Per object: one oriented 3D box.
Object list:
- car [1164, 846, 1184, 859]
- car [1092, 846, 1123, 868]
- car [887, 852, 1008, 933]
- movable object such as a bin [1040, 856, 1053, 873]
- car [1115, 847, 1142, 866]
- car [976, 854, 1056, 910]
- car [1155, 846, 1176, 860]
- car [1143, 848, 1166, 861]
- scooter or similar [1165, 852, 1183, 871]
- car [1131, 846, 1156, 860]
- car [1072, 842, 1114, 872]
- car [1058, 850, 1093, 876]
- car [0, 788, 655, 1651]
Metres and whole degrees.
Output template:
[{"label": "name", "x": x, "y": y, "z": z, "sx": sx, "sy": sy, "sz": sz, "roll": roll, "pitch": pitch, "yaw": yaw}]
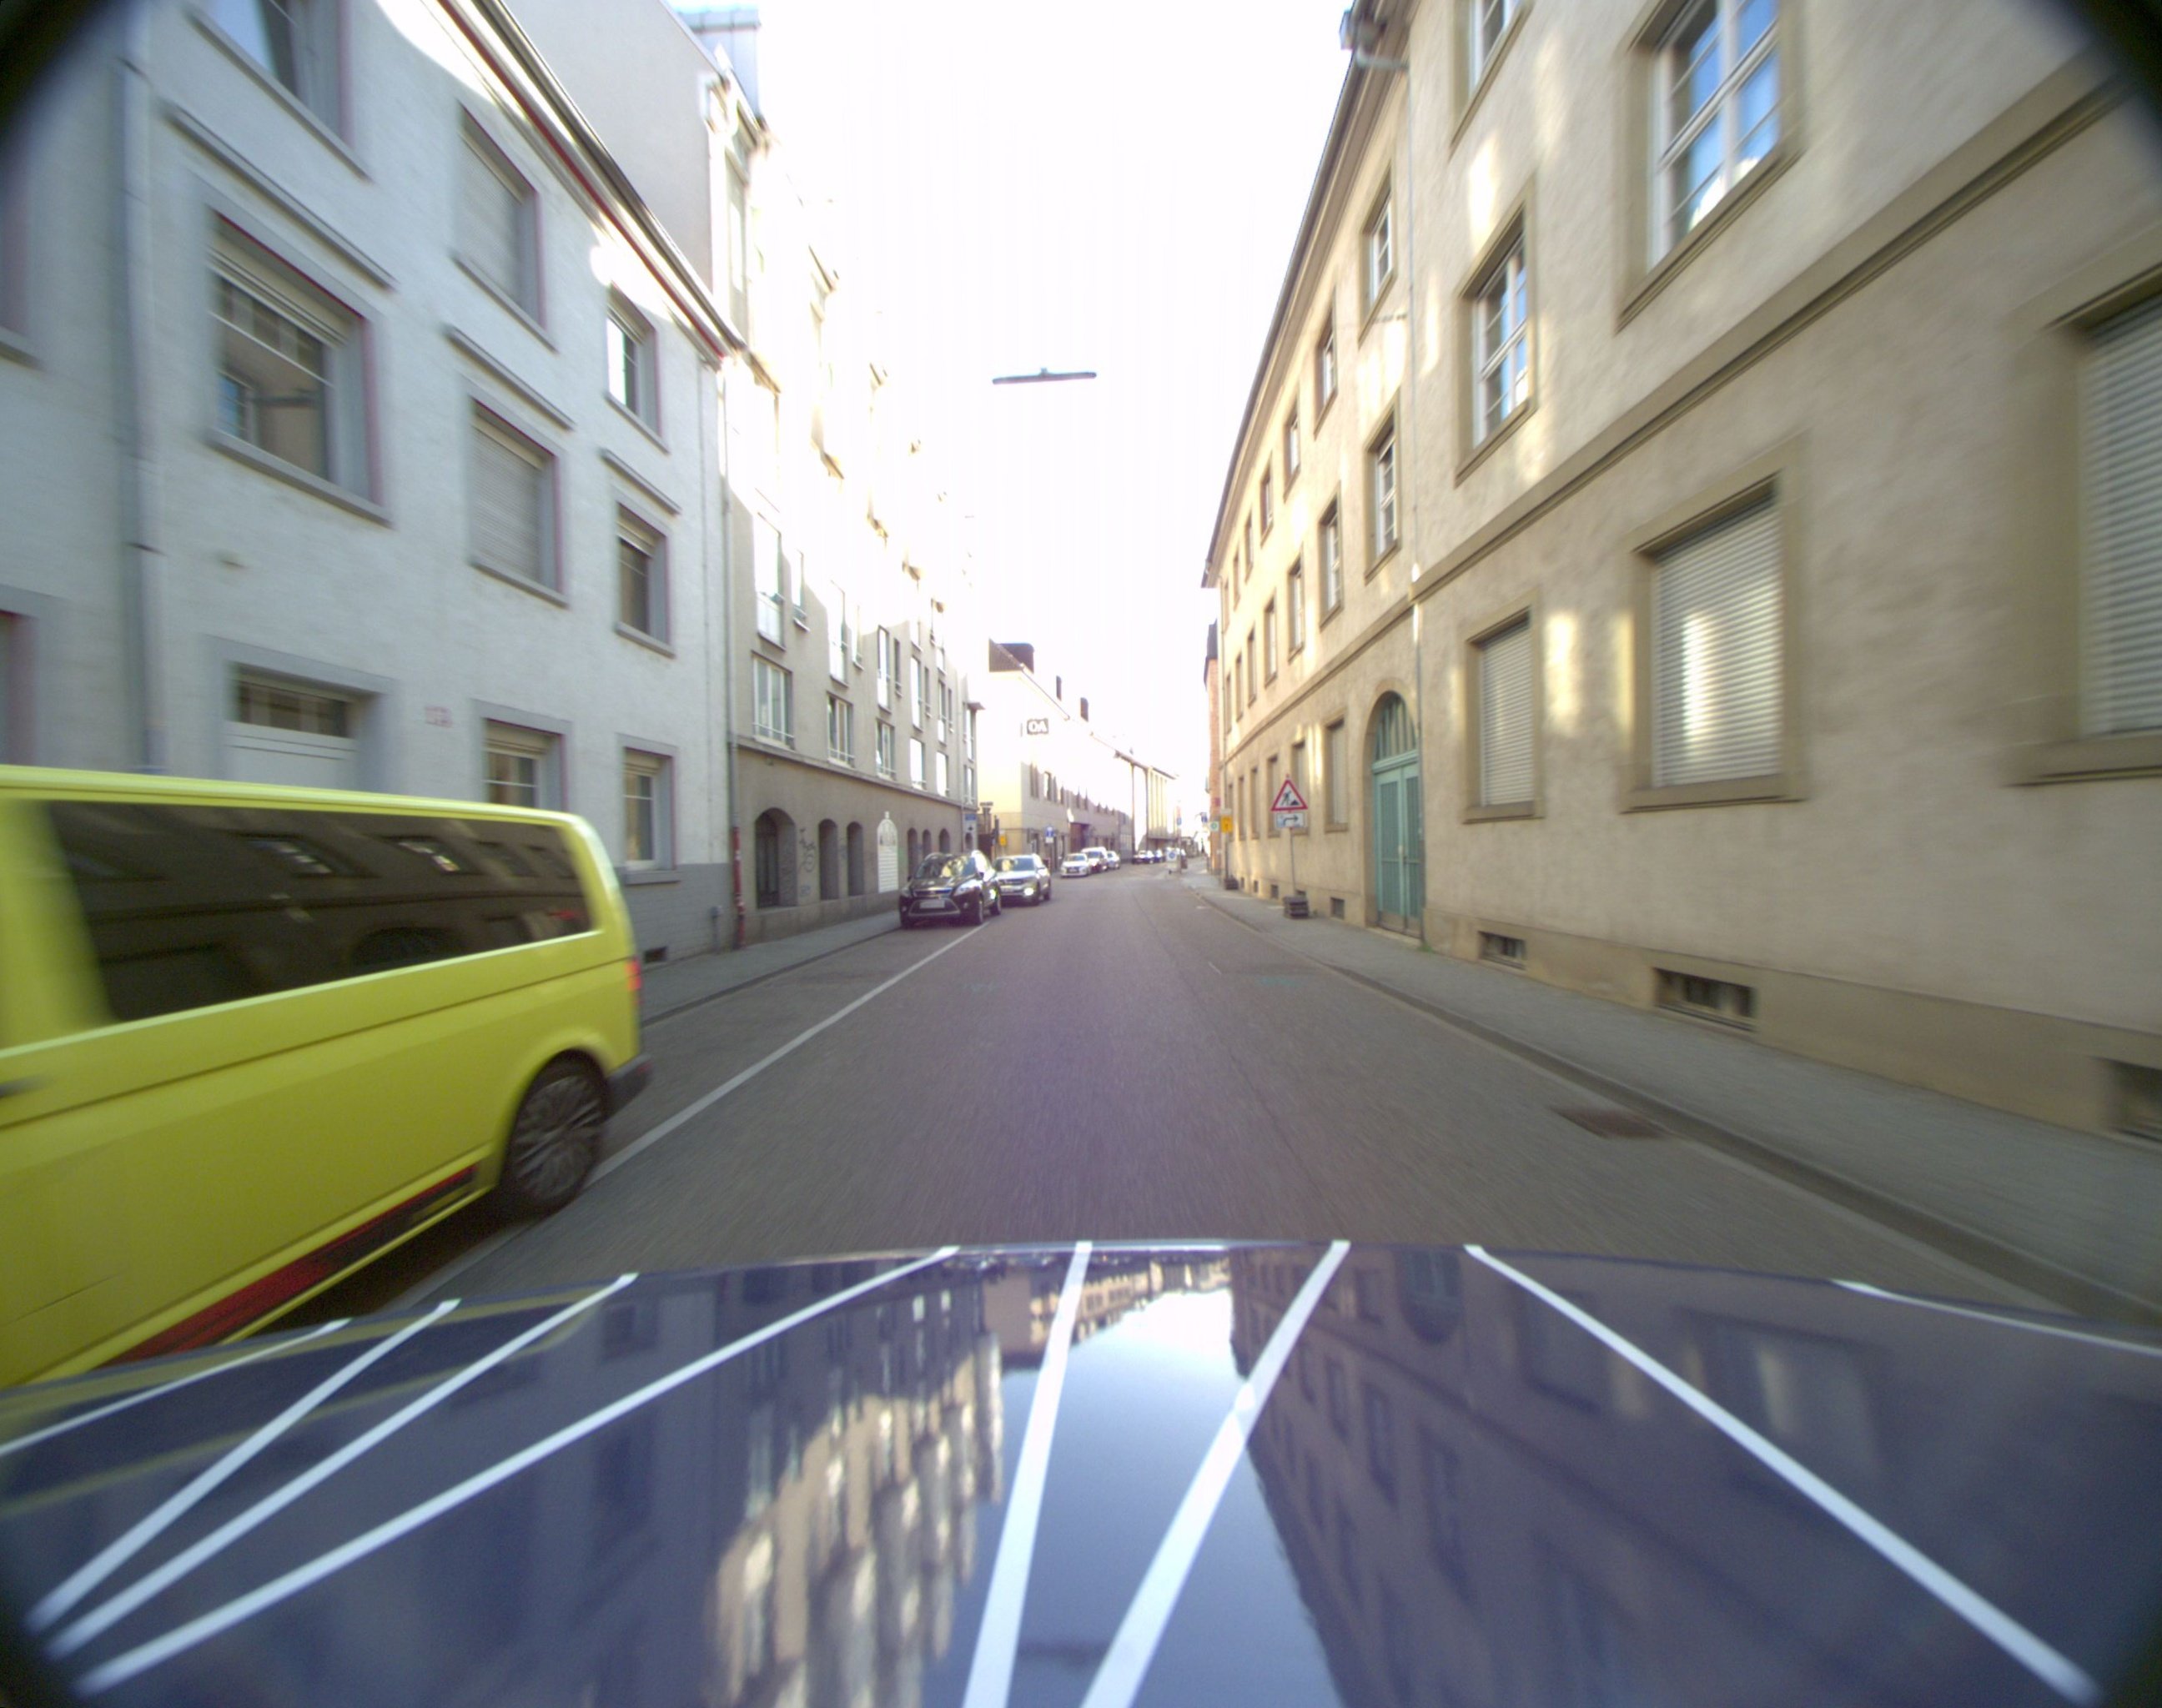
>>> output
[{"label": "car", "x": 12.330, "y": -0.199, "z": 100.470, "sx": 1.963, "sy": 1.637, "sz": 4.200, "roll": -2, "pitch": 1, "yaw": 14}, {"label": "car", "x": 2.146, "y": 0.215, "z": 60.882, "sx": 1.774, "sy": 1.574, "sz": 3.859, "roll": -5, "pitch": 0, "yaw": 11}, {"label": "car", "x": -3.048, "y": 0.820, "z": 18.387, "sx": 1.829, "sy": 1.645, "sz": 4.494, "roll": -2, "pitch": 0, "yaw": 4}, {"label": "movable object such as a bin", "x": -2.273, "y": 0.694, "z": 50.381, "sx": 0.687, "sy": 1.079, "sz": 0.930, "roll": -2, "pitch": 1, "yaw": 7}, {"label": "car", "x": 4.423, "y": 0.222, "z": 69.804, "sx": 1.774, "sy": 1.574, "sz": 3.860, "roll": -5, "pitch": 0, "yaw": 13}, {"label": "car", "x": -1.958, "y": 0.833, "z": 24.129, "sx": 1.829, "sy": 1.550, "sz": 3.987, "roll": -2, "pitch": 0, "yaw": 5}, {"label": "car", "x": 10.384, "y": -0.118, "z": 93.171, "sx": 1.963, "sy": 1.527, "sz": 4.200, "roll": -2, "pitch": 1, "yaw": 14}, {"label": "car", "x": 8.522, "y": 0.051, "z": 87.370, "sx": 1.963, "sy": 1.400, "sz": 4.200, "roll": -2, "pitch": 1, "yaw": 14}, {"label": "scooter or similar", "x": 6.064, "y": 0.490, "z": 49.480, "sx": 1.303, "sy": 1.217, "sz": 0.467, "roll": 0, "pitch": 0, "yaw": -45}, {"label": "car", "x": 6.715, "y": -0.110, "z": 81.027, "sx": 1.963, "sy": 1.400, "sz": 4.200, "roll": -2, "pitch": 1, "yaw": 14}, {"label": "car", "x": 0.942, "y": 0.172, "z": 55.028, "sx": 1.946, "sy": 1.850, "sz": 5.198, "roll": -5, "pitch": 0, "yaw": 11}, {"label": "car", "x": -0.286, "y": 0.530, "z": 48.233, "sx": 1.734, "sy": 1.539, "sz": 4.002, "roll": -2, "pitch": 0, "yaw": 6}, {"label": "car", "x": -3.314, "y": 0.819, "z": 1.784, "sx": 1.888, "sy": 1.871, "sz": 4.844, "roll": -2, "pitch": 0, "yaw": -1}]
